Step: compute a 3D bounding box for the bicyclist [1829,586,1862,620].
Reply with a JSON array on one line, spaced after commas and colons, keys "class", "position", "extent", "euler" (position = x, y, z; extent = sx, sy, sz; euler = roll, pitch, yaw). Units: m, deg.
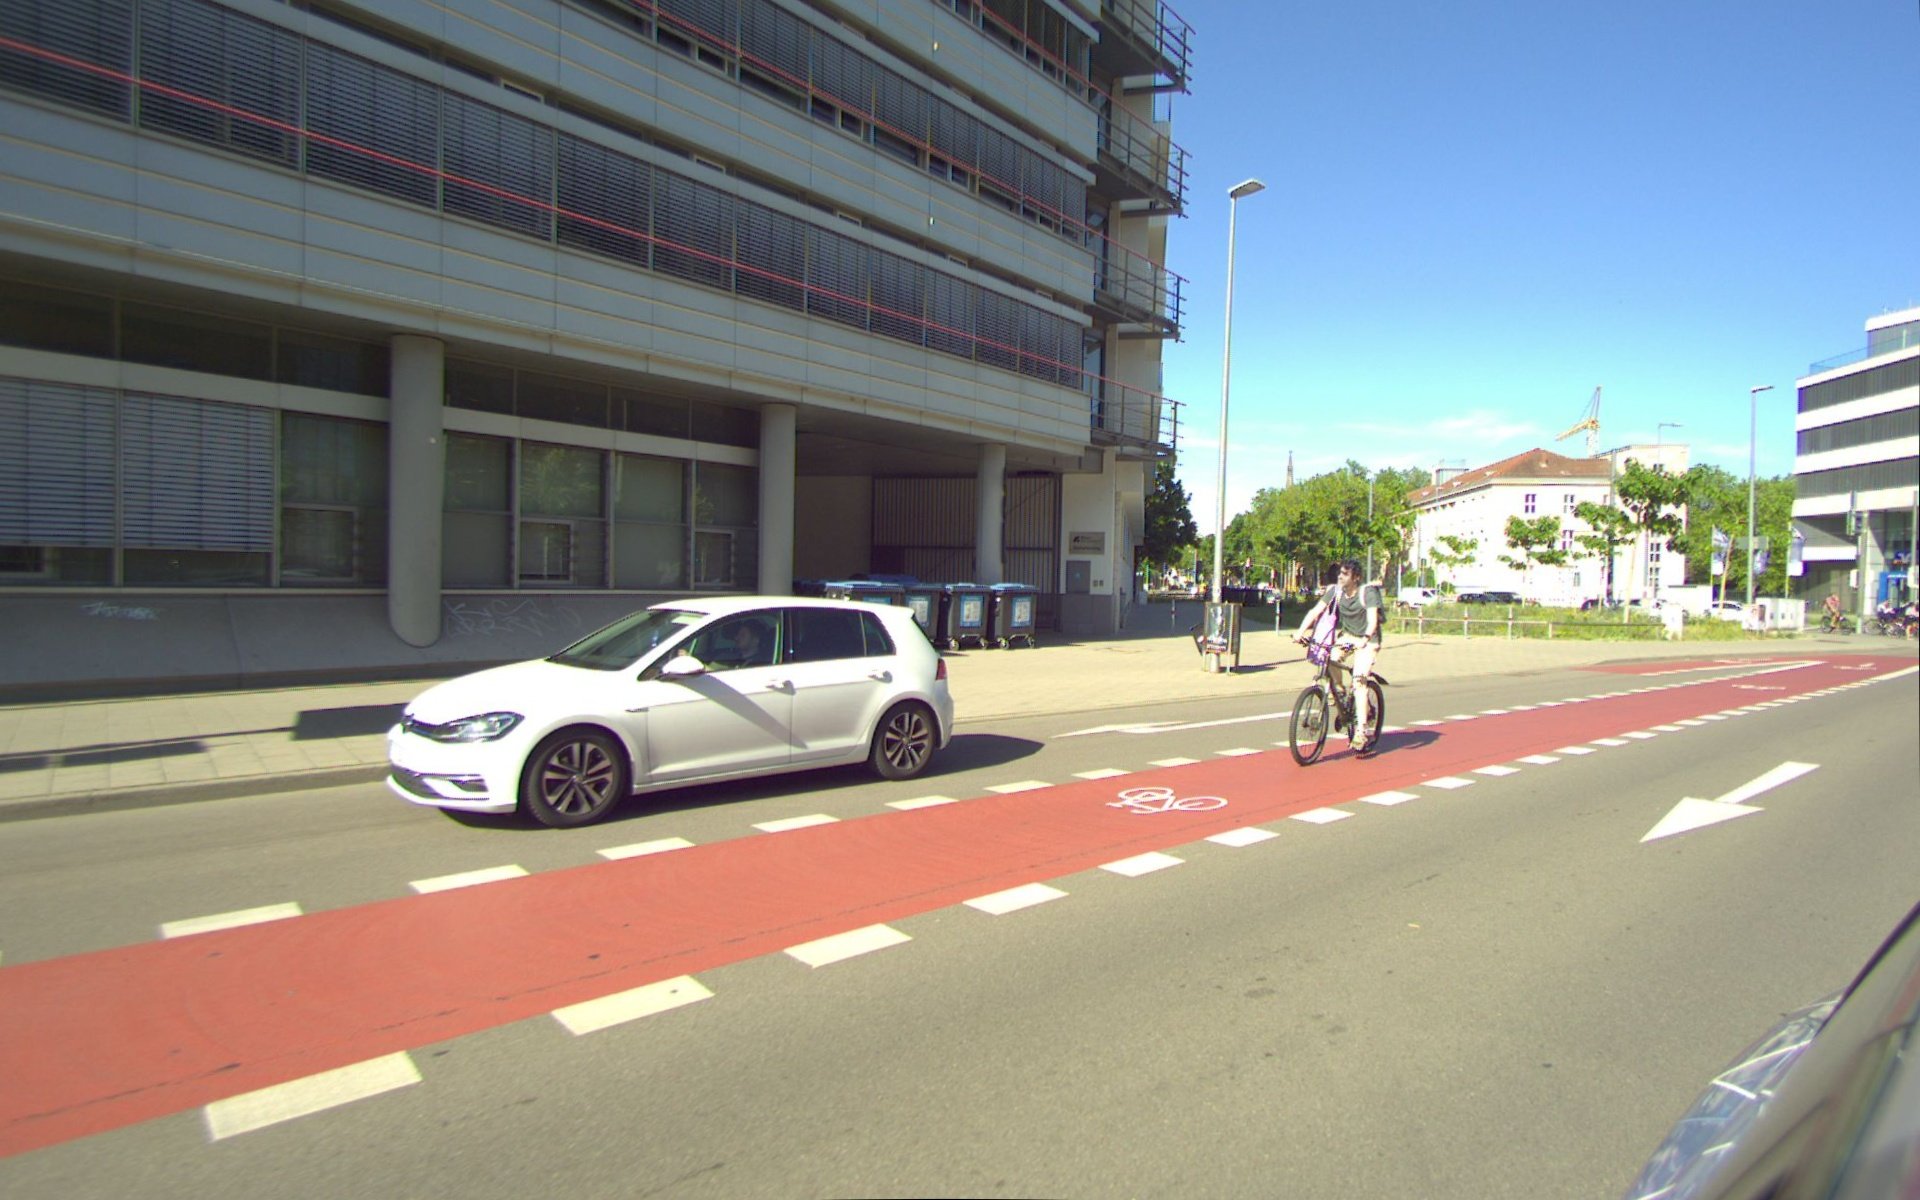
[{"class": "bicyclist", "position": [38.932, 0.129, 44.523], "extent": [0.683, 1.394, 0.738], "euler": [3, 2, -1]}]

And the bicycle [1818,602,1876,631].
[{"class": "bicycle", "position": [38.898, 0.731, 44.419], "extent": [0.683, 1.118, 2.012], "euler": [3, 2, -1]}]

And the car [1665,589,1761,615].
[{"class": "car", "position": [47.455, 0.104, 63.888], "extent": [1.804, 1.448, 4.492], "euler": [-1, 2, -26]}]

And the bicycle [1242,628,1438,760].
[{"class": "bicycle", "position": [3.526, 0.810, 9.335], "extent": [1.856, 1.050, 0.828], "euler": [0, 0, -37]}]

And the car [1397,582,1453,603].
[{"class": "car", "position": [38.189, -0.621, 83.197], "extent": [1.835, 1.575, 4.009], "euler": [1, 2, -22]}]

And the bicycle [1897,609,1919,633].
[{"class": "bicycle", "position": [40.956, 0.909, 42.867], "extent": [0.682, 0.966, 1.711], "euler": [2, 2, -28]}]

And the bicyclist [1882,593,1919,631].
[{"class": "bicyclist", "position": [44.359, 0.567, 47.727], "extent": [0.583, 1.673, 1.006], "euler": [2, 4, -23]}]

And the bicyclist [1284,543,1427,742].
[{"class": "bicyclist", "position": [3.644, 0.364, 9.332], "extent": [1.031, 1.714, 0.809], "euler": [0, 0, -37]}]

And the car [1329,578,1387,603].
[{"class": "car", "position": [33.476, -0.808, 85.351], "extent": [1.835, 2.006, 4.665], "euler": [1, 2, -21]}]

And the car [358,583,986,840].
[{"class": "car", "position": [-1.966, 0.618, 7.634], "extent": [4.217, 1.421, 1.776], "euler": [0, 0, -40]}]

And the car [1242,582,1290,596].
[{"class": "car", "position": [29.432, -1.072, 97.457], "extent": [1.836, 1.286, 4.665], "euler": [1, 2, -23]}]

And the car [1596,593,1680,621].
[{"class": "car", "position": [42.930, 0.421, 64.188], "extent": [1.837, 1.575, 4.006], "euler": [0, 2, -28]}]

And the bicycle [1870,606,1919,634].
[{"class": "bicycle", "position": [44.363, 0.955, 47.668], "extent": [0.682, 1.118, 2.017], "euler": [5, 3, -23]}]

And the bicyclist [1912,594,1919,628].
[{"class": "bicyclist", "position": [40.888, 0.500, 42.692], "extent": [0.578, 1.421, 0.829], "euler": [2, 2, -28]}]
